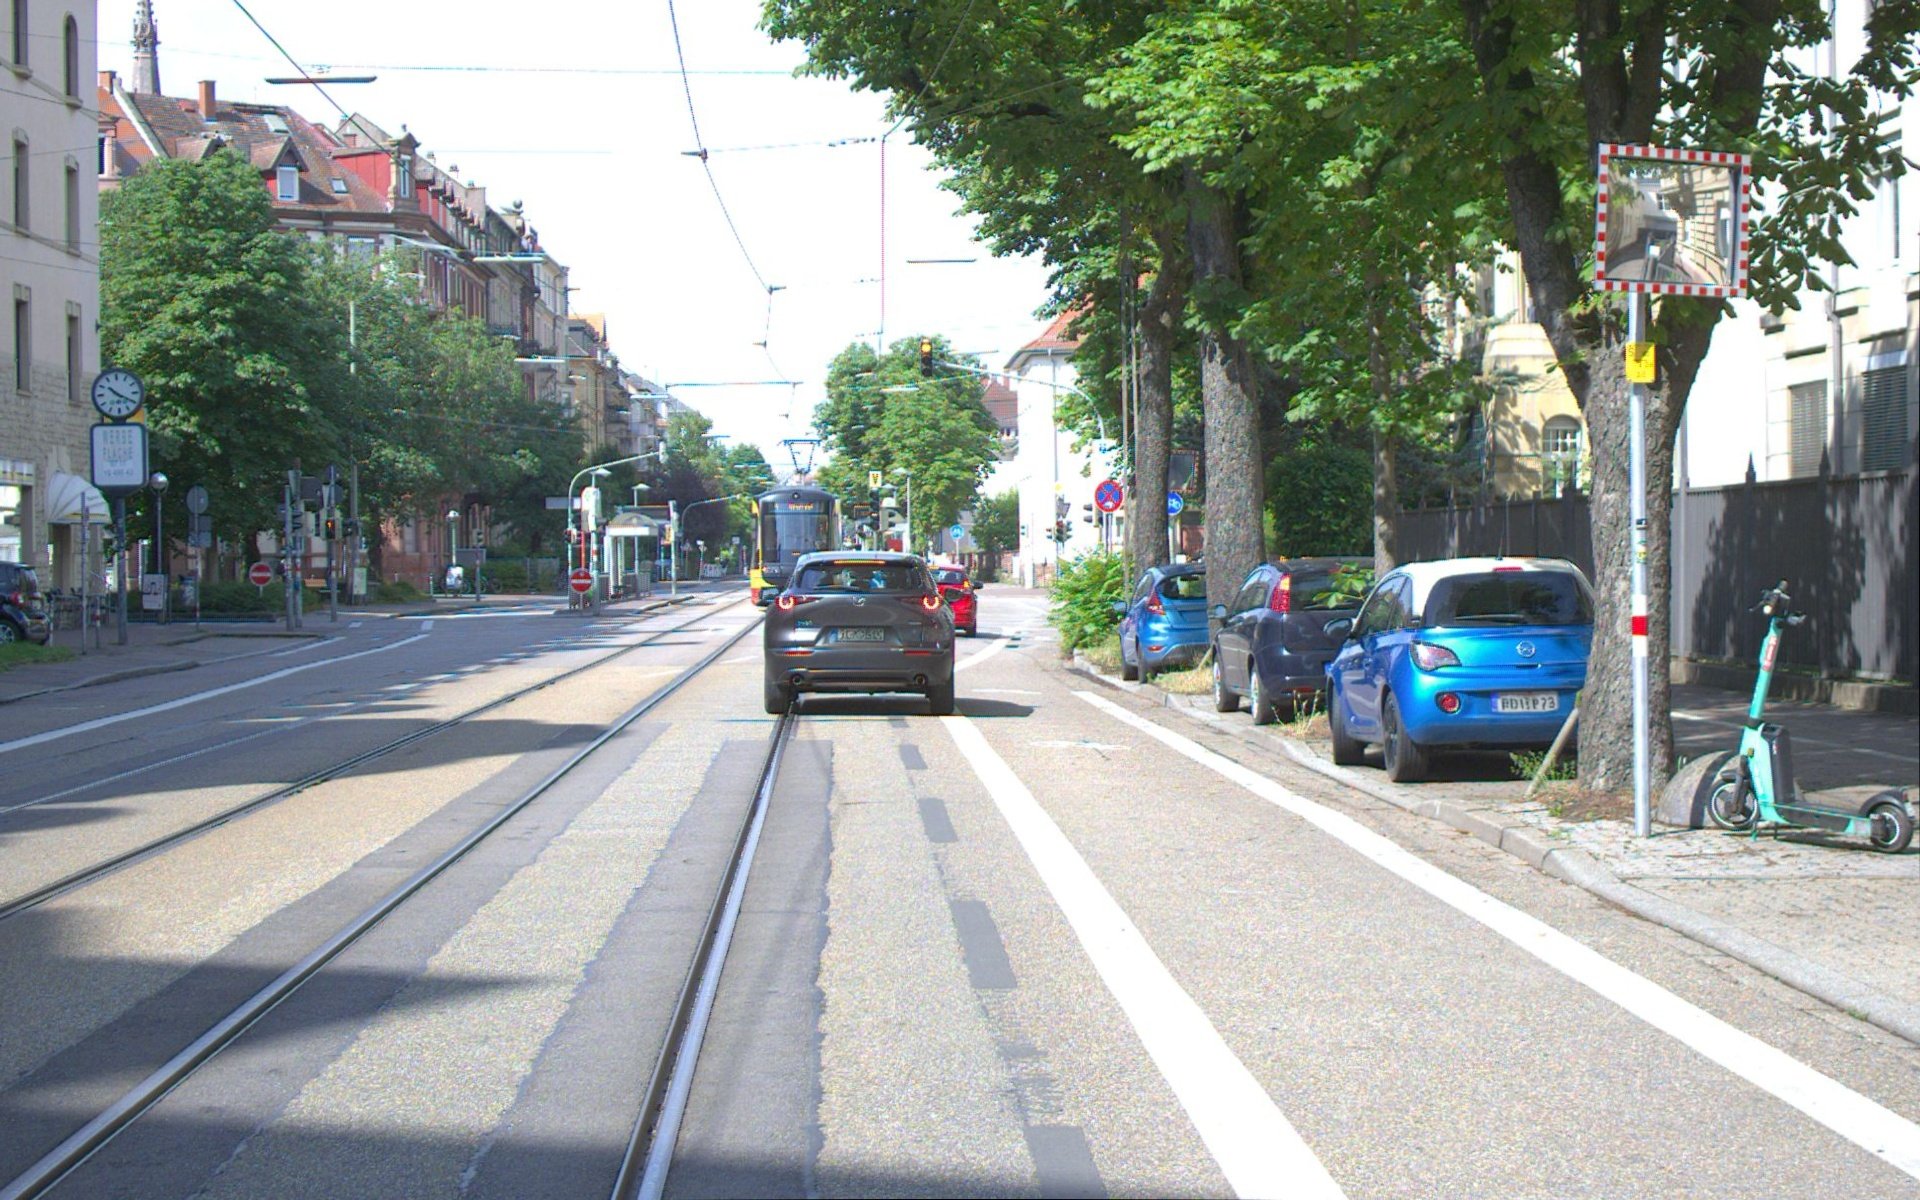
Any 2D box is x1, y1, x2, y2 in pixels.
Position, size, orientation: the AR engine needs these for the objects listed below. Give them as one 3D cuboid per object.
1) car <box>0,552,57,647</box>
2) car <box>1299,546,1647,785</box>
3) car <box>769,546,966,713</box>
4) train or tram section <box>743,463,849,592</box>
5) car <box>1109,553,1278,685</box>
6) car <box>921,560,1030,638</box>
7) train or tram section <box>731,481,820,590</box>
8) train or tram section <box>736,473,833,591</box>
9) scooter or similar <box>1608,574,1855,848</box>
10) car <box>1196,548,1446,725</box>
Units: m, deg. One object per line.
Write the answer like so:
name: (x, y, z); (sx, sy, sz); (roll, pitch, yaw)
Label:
car: (-16.606, -0.040, 56.127); (3.236, 1.508, 1.679); (1, 0, 2)
car: (3.509, 0.396, 24.103); (1.639, 1.491, 3.627); (-2, 1, -4)
car: (-0.963, 0.241, 33.630); (1.789, 1.507, 4.351); (0, 1, -3)
train or tram section: (-4.825, -2.037, 99.671); (2.651, 3.516, 8.498); (-1, 0, -5)
car: (2.834, 0.197, 42.363); (1.624, 1.491, 3.848); (-3, 1, -2)
car: (0.282, -0.048, 69.679); (1.784, 1.487, 4.884); (-1, 1, -4)
train or tram section: (-6.329, -2.142, 116.686); (2.651, 3.516, 8.498); (-1, 0, -5)
train or tram section: (-5.573, -2.090, 108.183); (2.651, 3.516, 8.498); (-1, 0, -5)
scooter or similar: (3.844, 0.531, 17.188); (0.441, 1.295, 1.182); (-5, 3, -33)
car: (3.293, 0.293, 32.000); (1.639, 1.491, 3.758); (-2, 1, -4)
